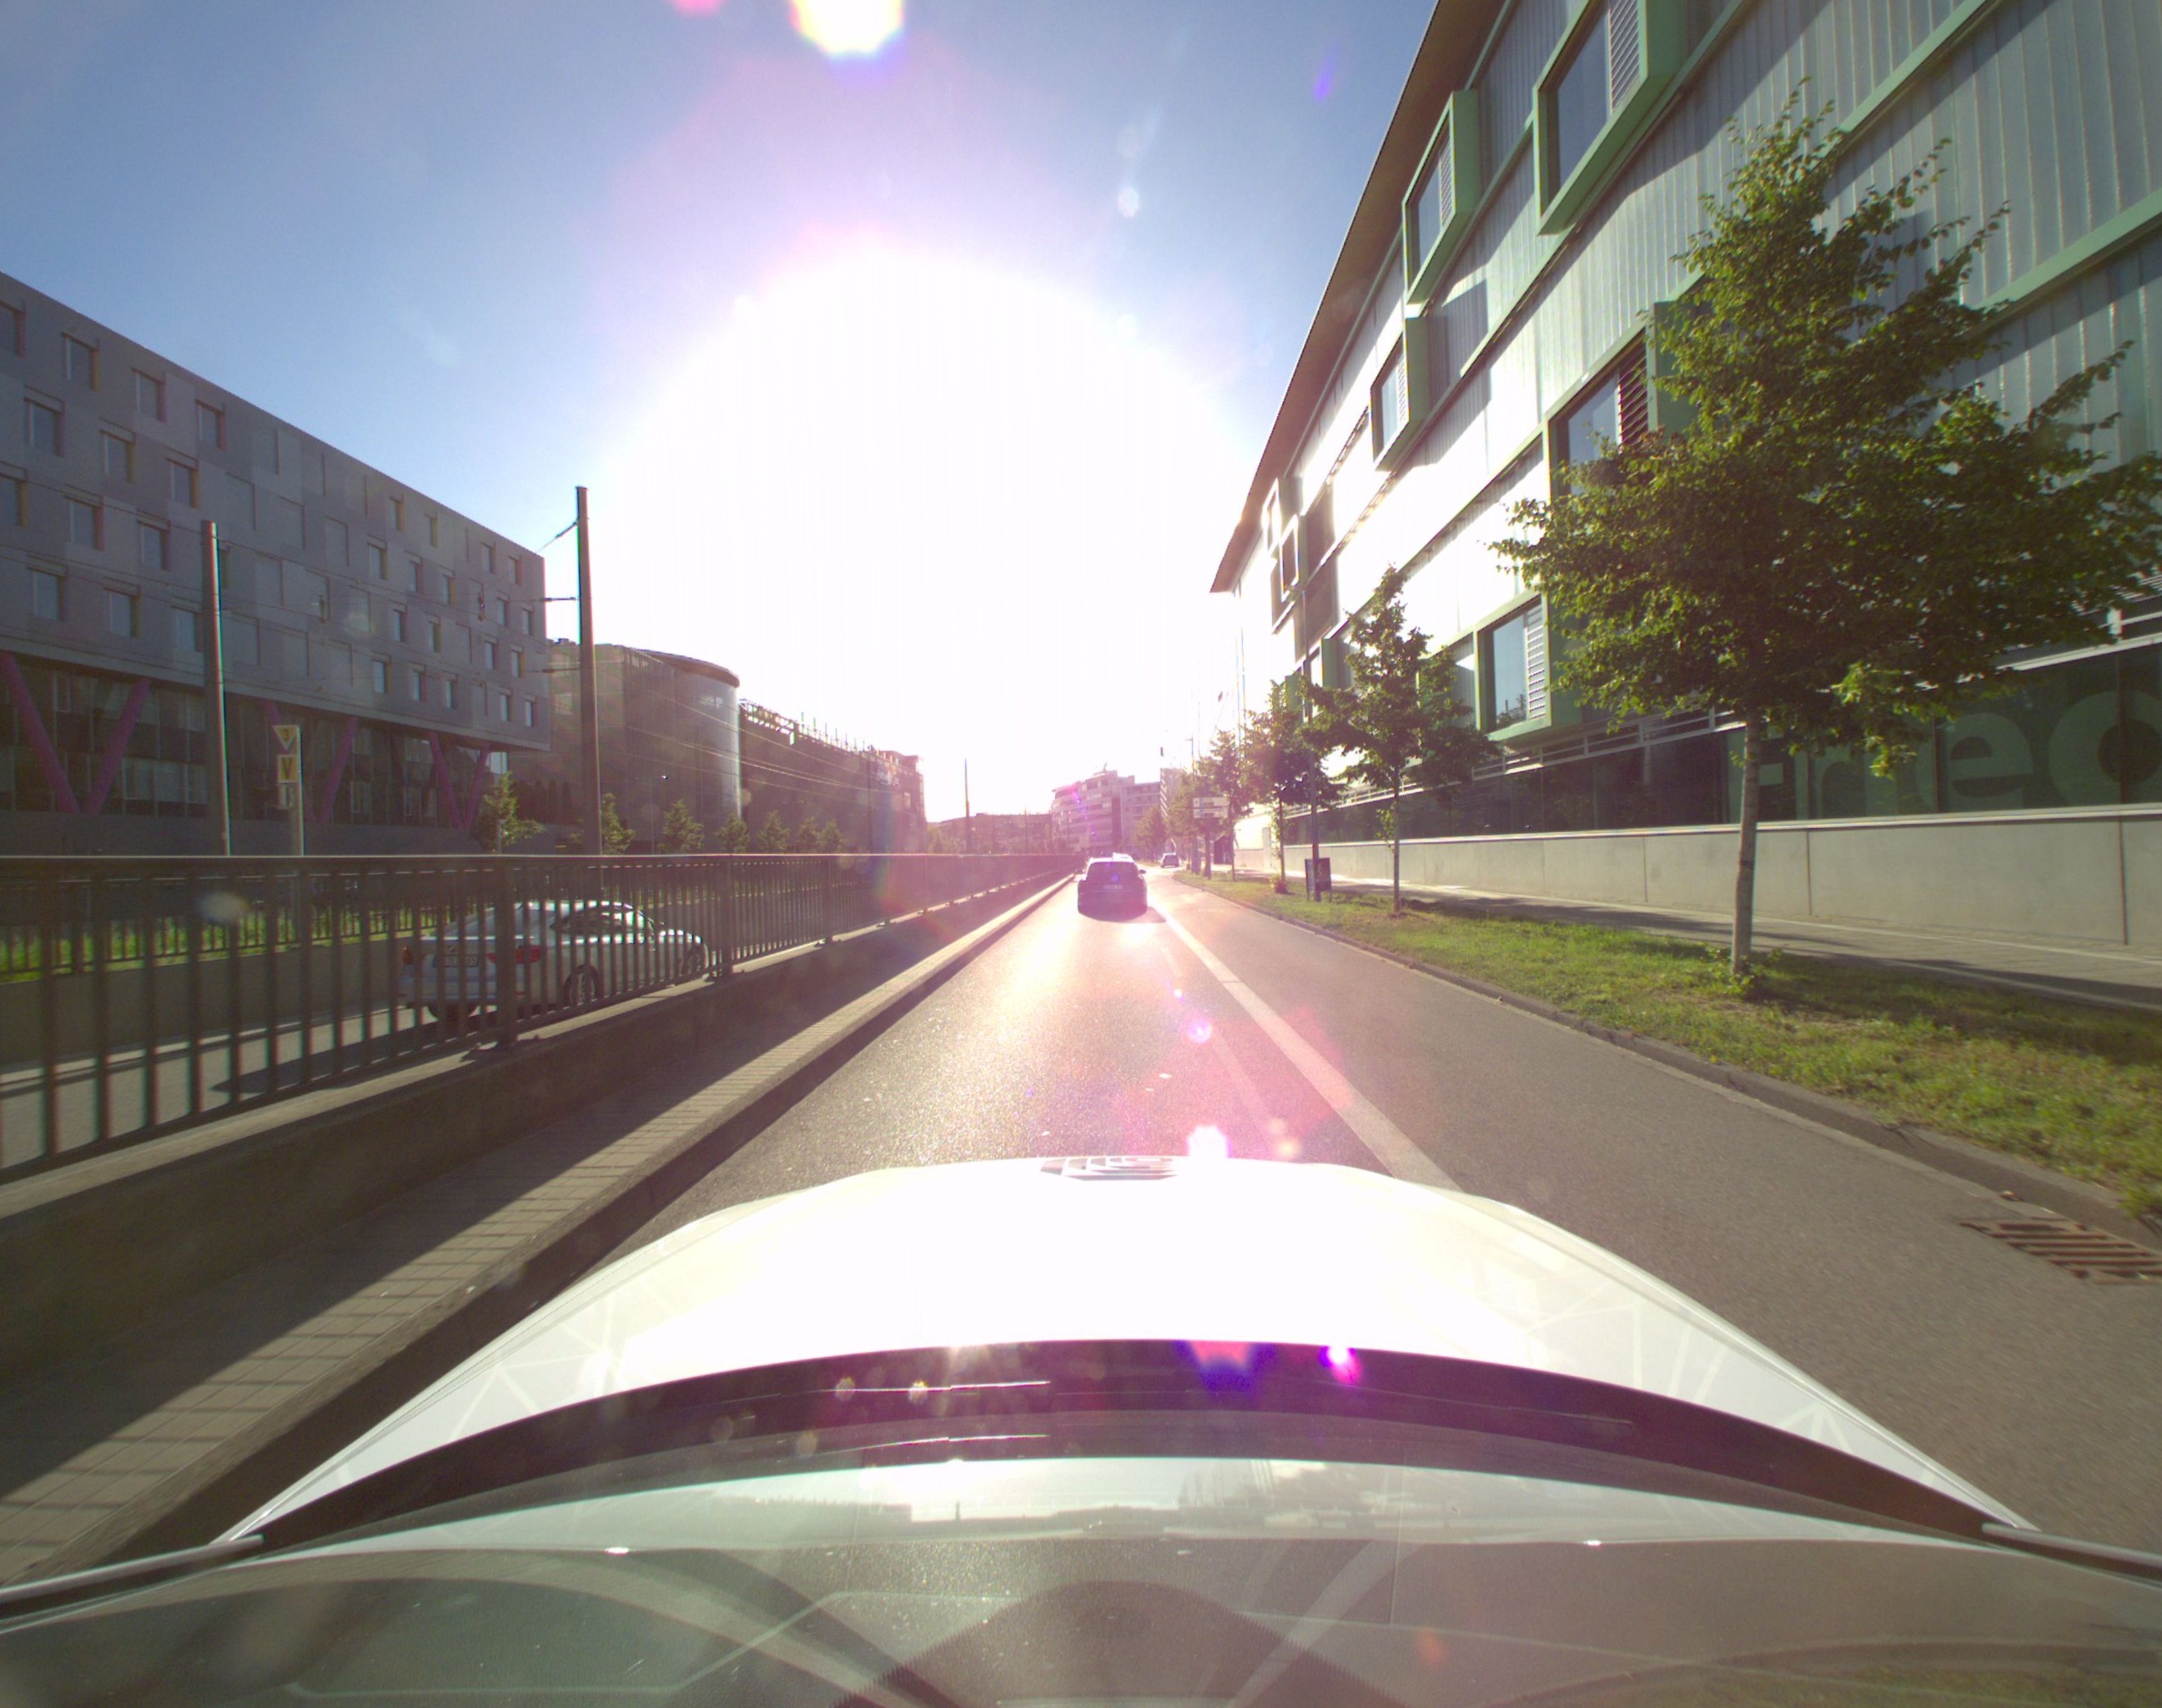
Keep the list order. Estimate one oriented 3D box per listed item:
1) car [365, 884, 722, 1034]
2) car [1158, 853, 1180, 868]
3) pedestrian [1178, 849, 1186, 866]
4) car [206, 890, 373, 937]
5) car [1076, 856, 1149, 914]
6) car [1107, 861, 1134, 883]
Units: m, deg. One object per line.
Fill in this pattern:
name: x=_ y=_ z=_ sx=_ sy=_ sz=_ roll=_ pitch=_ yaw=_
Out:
car: x=-7.265 y=1.294 z=11.810 sx=1.792 sy=1.527 sz=4.912 roll=0 pitch=0 yaw=2
car: x=9.213 y=0.661 z=85.541 sx=1.846 sy=1.481 sz=4.855 roll=-4 pitch=0 yaw=1
pedestrian: x=12.239 y=0.467 z=98.378 sx=0.833 sy=2.013 sz=0.690 roll=-3 pitch=0 yaw=2
car: x=-31.150 y=2.295 z=32.293 sx=1.791 sy=1.527 sz=4.723 roll=0 pitch=0 yaw=3
car: x=0.853 y=0.808 z=23.079 sx=1.806 sy=1.427 sz=4.690 roll=-2 pitch=0 yaw=1
car: x=2.903 y=1.307 z=60.847 sx=1.846 sy=1.546 sz=4.000 roll=0 pitch=0 yaw=1
